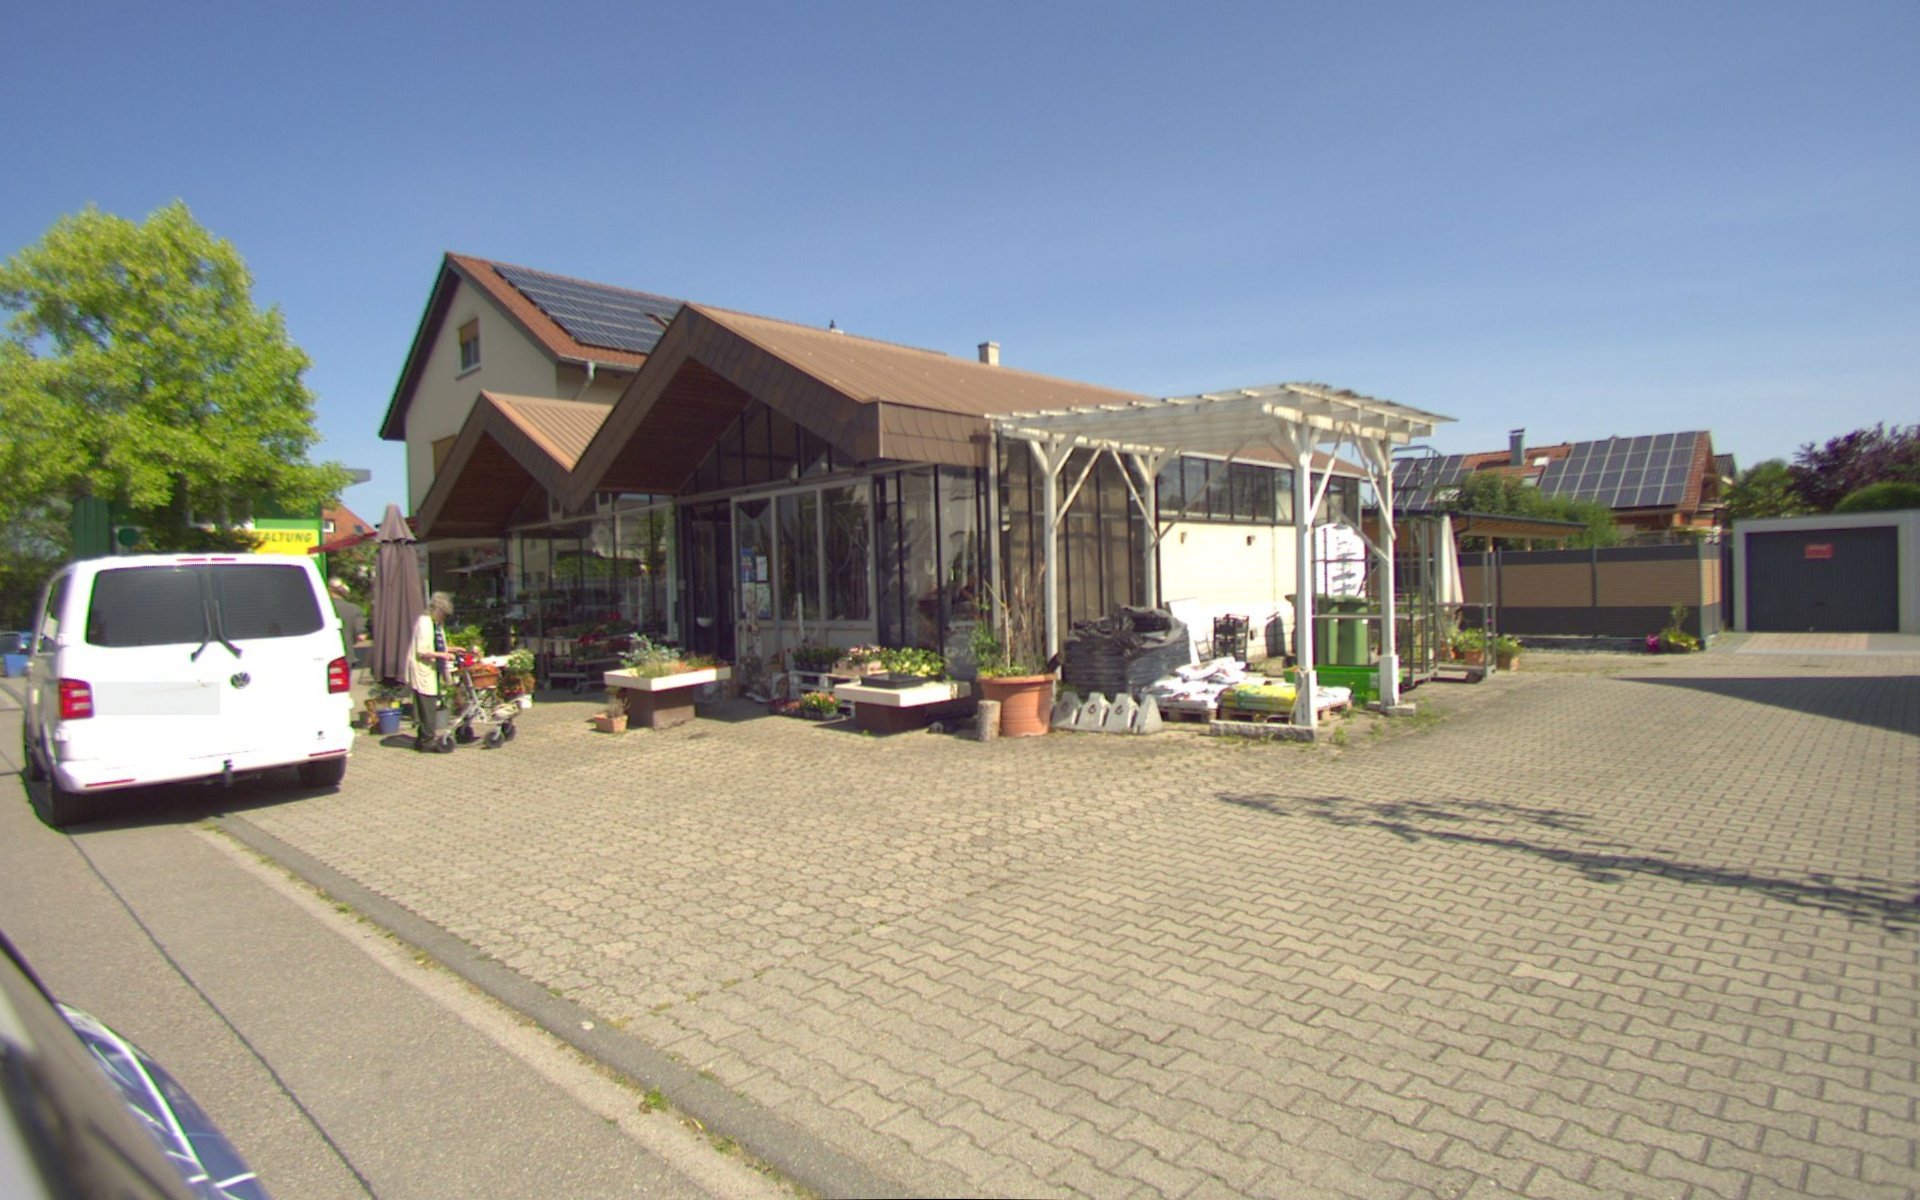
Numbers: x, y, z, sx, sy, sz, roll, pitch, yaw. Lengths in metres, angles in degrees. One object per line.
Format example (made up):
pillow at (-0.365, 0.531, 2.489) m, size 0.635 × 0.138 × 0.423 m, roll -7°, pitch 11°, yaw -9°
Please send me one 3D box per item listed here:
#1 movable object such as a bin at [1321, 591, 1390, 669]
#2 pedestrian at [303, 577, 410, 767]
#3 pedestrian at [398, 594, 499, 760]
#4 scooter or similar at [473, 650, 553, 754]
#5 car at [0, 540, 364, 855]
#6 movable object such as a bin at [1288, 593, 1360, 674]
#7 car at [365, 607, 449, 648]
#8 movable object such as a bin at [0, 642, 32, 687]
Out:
movable object such as a bin at (5.718, 0.425, 14.622) m, size 0.714 × 1.076 × 0.799 m, roll -2°, pitch 0°, yaw 37°
pedestrian at (-5.834, 0.667, 9.821) m, size 0.680 × 1.744 × 0.644 m, roll -3°, pitch 0°, yaw -16°
pedestrian at (-5.058, 0.737, 10.042) m, size 0.707 × 1.550 × 0.643 m, roll -3°, pitch 0°, yaw -13°
scooter or similar at (-4.478, 1.010, 10.168) m, size 0.592 × 0.953 × 0.622 m, roll -2°, pitch 0°, yaw -13°
car at (-7.054, 0.642, 8.926) m, size 1.907 × 2.029 × 4.898 m, roll -2°, pitch 1°, yaw -45°
movable object such as a bin at (5.077, 0.453, 14.088) m, size 0.714 × 1.076 × 0.799 m, roll -2°, pitch 0°, yaw 37°
car at (-22.723, 1.094, 41.515) m, size 4.001 × 1.458 × 1.836 m, roll 0°, pitch 3°, yaw 44°
movable object such as a bin at (-24.015, 1.622, 25.585) m, size 0.612 × 1.062 × 0.723 m, roll -2°, pitch 2°, yaw 43°
